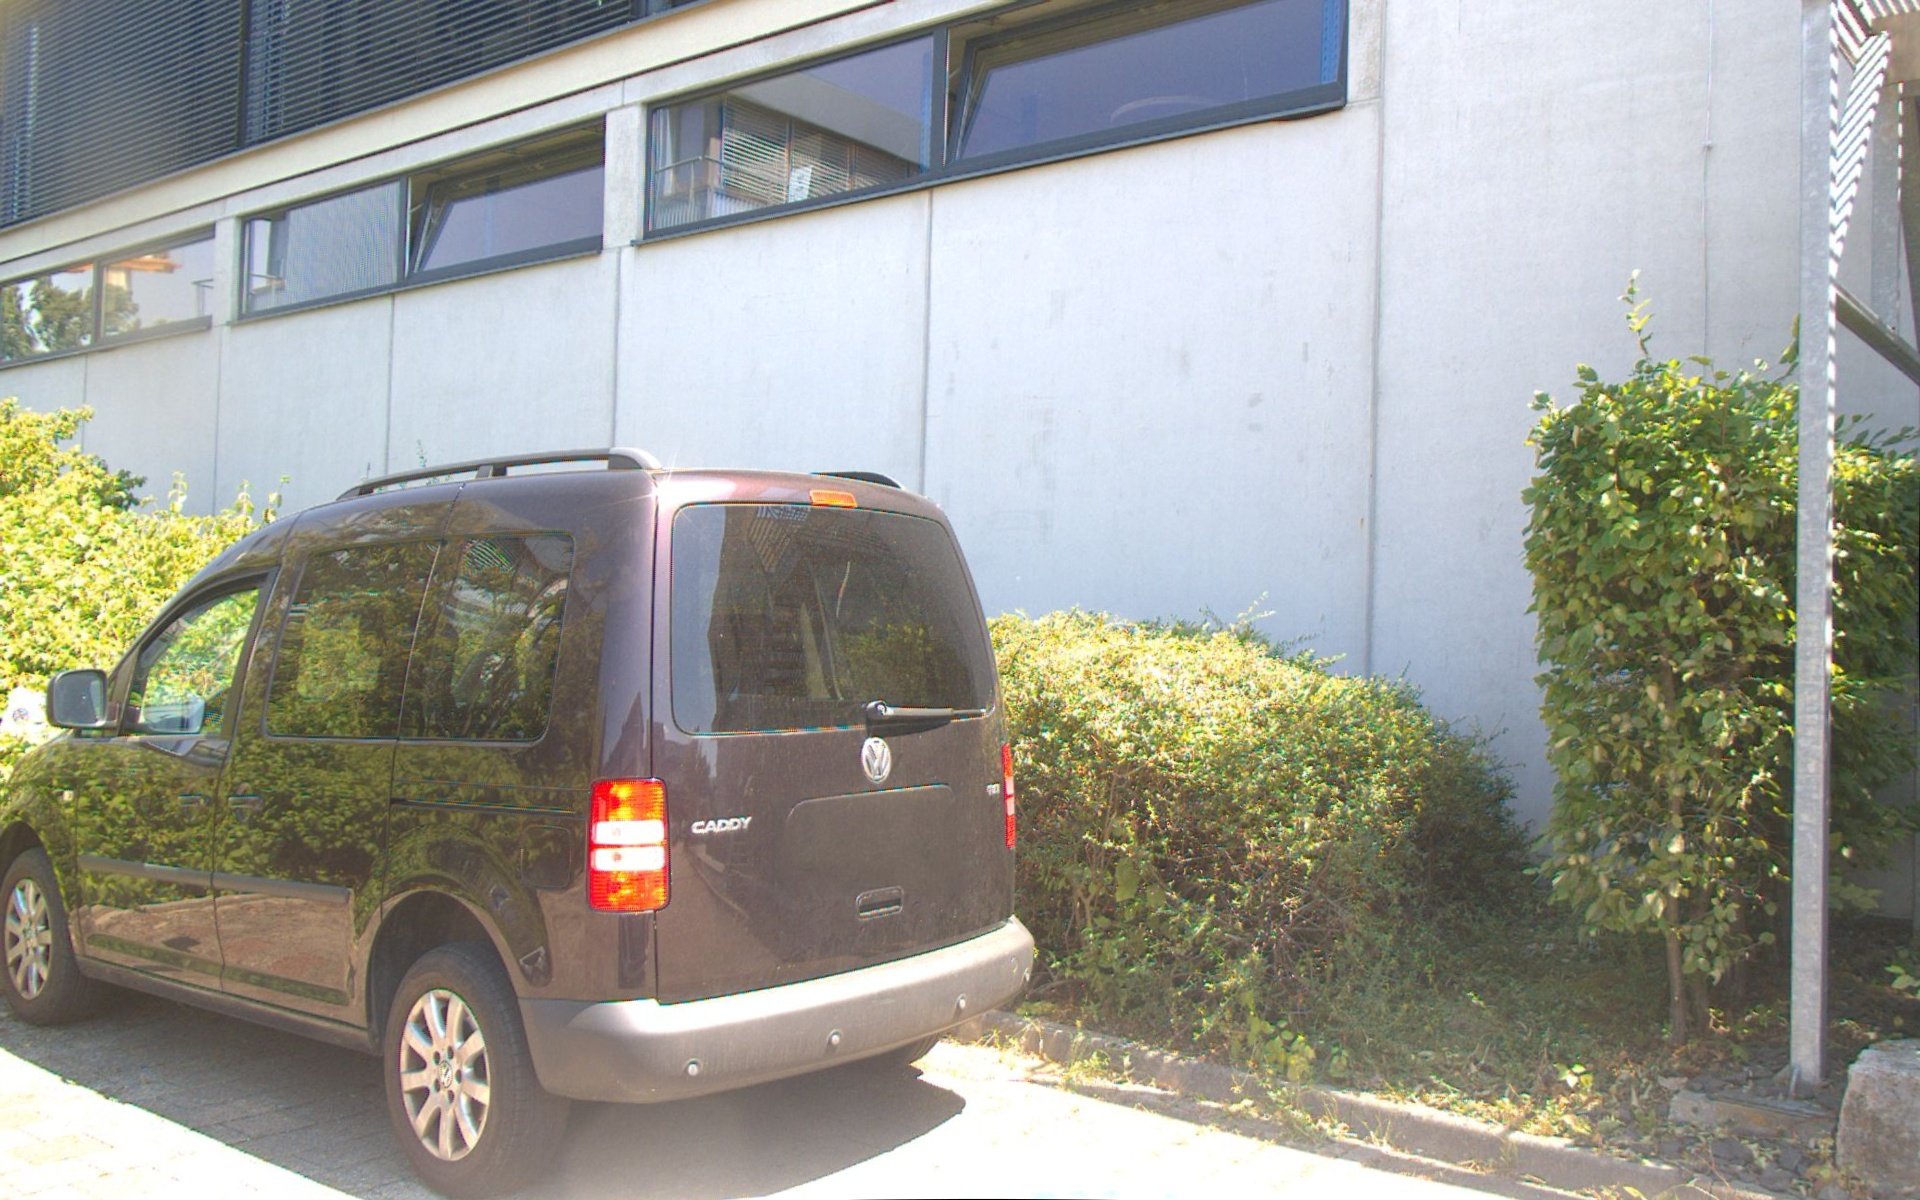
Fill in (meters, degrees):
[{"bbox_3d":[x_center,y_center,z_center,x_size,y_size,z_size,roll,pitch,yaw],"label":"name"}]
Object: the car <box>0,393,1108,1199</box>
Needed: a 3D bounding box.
[{"bbox_3d":[-1.631,0.501,5.497,3.996,1.917,1.670,1,0,40],"label":"car"}]
